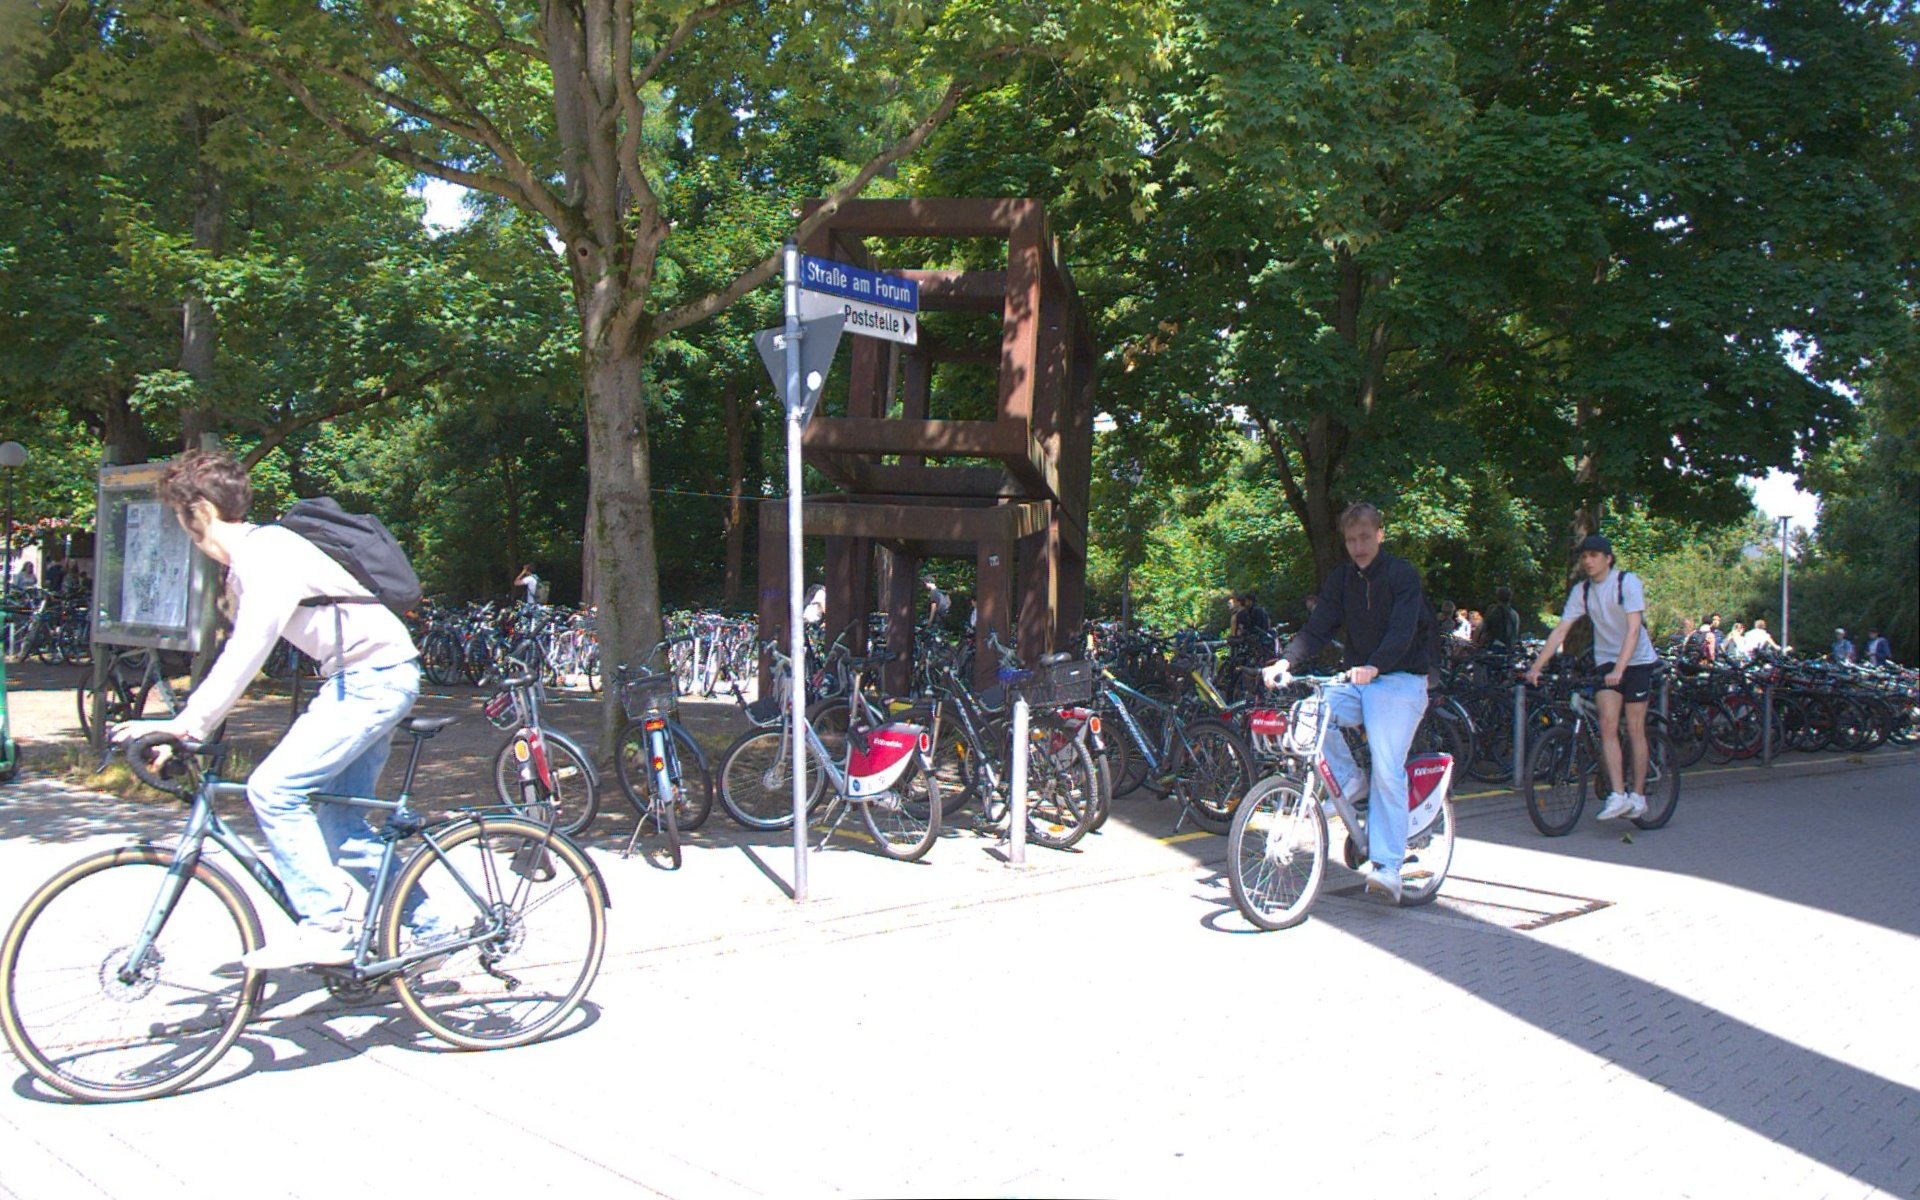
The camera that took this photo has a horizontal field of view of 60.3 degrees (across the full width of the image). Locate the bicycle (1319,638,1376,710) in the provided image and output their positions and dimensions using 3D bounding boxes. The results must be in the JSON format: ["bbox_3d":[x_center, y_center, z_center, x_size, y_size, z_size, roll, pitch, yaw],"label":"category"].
[{"bbox_3d":[6.402,1.206,27.385,0.463,1.102,1.699,3,-1,-1],"label":"bicycle"}]

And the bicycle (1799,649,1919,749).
[{"bbox_3d":[12.297,1.326,22.287,1.666,1.219,0.534,3,-1,36],"label":"bicycle"}]

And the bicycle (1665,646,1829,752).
[{"bbox_3d":[9.473,1.176,19.934,1.704,1.127,0.496,3,-1,32],"label":"bicycle"}]

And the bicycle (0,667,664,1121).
[{"bbox_3d":[-1.848,0.799,4.985,1.789,1.127,0.636,0,1,-24],"label":"bicycle"}]

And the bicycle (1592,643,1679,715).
[{"bbox_3d":[11.286,1.302,27.695,0.464,1.102,1.695,3,-1,-10],"label":"bicycle"}]

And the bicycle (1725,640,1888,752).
[{"bbox_3d":[10.545,1.175,20.626,1.707,1.257,0.495,3,-1,37],"label":"bicycle"}]

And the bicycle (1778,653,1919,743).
[{"bbox_3d":[12.483,1.367,23.258,1.664,1.127,0.564,3,-1,33],"label":"bicycle"}]

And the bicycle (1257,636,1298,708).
[{"bbox_3d":[5.198,1.161,27.116,0.462,1.102,1.701,3,-1,6],"label":"bicycle"}]

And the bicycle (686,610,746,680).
[{"bbox_3d":[-4.049,0.734,27.558,0.462,1.102,1.860,3,-1,6],"label":"bicycle"}]

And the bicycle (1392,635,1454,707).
[{"bbox_3d":[7.611,1.147,27.256,0.463,1.102,1.699,3,-1,-1],"label":"bicycle"}]

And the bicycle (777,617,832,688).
[{"bbox_3d":[-2.540,0.846,27.178,0.462,1.102,1.860,3,-1,6],"label":"bicycle"}]

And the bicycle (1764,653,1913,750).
[{"bbox_3d":[11.515,1.313,21.701,1.664,1.127,0.473,3,-1,33],"label":"bicycle"}]

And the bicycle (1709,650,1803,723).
[{"bbox_3d":[13.257,1.431,27.590,0.464,1.102,1.695,3,-1,-11],"label":"bicycle"}]

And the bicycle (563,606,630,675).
[{"bbox_3d":[-6.091,0.674,27.786,0.462,1.102,1.860,3,-1,6],"label":"bicycle"}]

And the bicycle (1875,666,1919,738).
[{"bbox_3d":[14.915,1.586,25.141,1.658,1.036,0.474,3,-1,9],"label":"bicycle"}]

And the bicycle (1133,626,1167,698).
[{"bbox_3d":[3.065,0.982,26.719,0.462,1.102,1.701,3,-1,6],"label":"bicycle"}]

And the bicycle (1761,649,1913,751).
[{"bbox_3d":[11.279,1.274,21.298,1.664,1.165,0.473,3,-1,33],"label":"bicycle"}]

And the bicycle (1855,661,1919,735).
[{"bbox_3d":[14.894,1.546,25.656,1.658,1.080,0.474,3,-1,9],"label":"bicycle"}]

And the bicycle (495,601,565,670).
[{"bbox_3d":[-7.258,0.596,27.973,0.462,1.102,1.860,3,-1,6],"label":"bicycle"}]

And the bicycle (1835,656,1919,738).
[{"bbox_3d":[13.903,1.445,24.383,1.659,1.127,0.474,3,-1,17],"label":"bicycle"}]

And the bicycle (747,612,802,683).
[{"bbox_3d":[-3.045,0.771,27.278,0.462,1.102,1.860,3,-1,6],"label":"bicycle"}]

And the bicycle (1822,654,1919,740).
[{"bbox_3d":[13.410,1.403,23.851,1.664,1.127,0.581,3,-1,33],"label":"bicycle"}]

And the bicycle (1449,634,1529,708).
[{"bbox_3d":[8.659,1.145,27.116,0.464,1.102,1.695,3,-1,-10],"label":"bicycle"}]

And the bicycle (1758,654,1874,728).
[{"bbox_3d":[14.238,1.496,27.547,0.468,1.102,1.681,4,-1,-32],"label":"bicycle"}]

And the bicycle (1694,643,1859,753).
[{"bbox_3d":[10.026,1.188,20.352,1.711,1.199,0.494,3,-1,44],"label":"bicycle"}]

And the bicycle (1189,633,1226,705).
[{"bbox_3d":[4.021,1.109,26.927,0.462,1.102,1.701,3,-1,6],"label":"bicycle"}]

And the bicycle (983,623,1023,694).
[{"bbox_3d":[0.716,0.938,27.006,0.462,1.102,1.701,3,-1,6],"label":"bicycle"}]

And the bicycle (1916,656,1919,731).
[{"bbox_3d":[16.224,1.549,26.352,1.663,1.189,0.473,3,-1,32],"label":"bicycle"}]

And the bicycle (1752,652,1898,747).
[{"bbox_3d":[11.577,1.315,22.159,1.664,1.127,0.473,3,-1,33],"label":"bicycle"}]

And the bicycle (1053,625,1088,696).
[{"bbox_3d":[1.833,0.983,27.333,0.462,1.102,1.701,3,-1,6],"label":"bicycle"}]

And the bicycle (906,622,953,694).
[{"bbox_3d":[-0.481,0.928,26.864,0.462,1.102,1.860,3,-1,6],"label":"bicycle"}]

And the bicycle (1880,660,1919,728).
[{"bbox_3d":[16.408,1.622,28.458,1.686,1.102,0.500,4,-1,-44],"label":"bicycle"}]

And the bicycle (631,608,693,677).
[{"bbox_3d":[-4.991,0.703,27.801,0.462,1.102,1.860,3,-1,6],"label":"bicycle"}]

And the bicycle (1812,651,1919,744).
[{"bbox_3d":[13.059,1.377,23.461,1.664,1.208,0.473,3,-1,33],"label":"bicycle"}]

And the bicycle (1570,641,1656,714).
[{"bbox_3d":[10.845,1.274,27.515,0.464,1.102,1.695,3,-1,-10],"label":"bicycle"}]

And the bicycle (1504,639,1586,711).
[{"bbox_3d":[9.692,1.226,27.465,0.464,1.102,1.695,3,-1,-10],"label":"bicycle"}]

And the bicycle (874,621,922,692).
[{"bbox_3d":[-1.008,0.905,27.057,0.462,1.102,1.860,3,-1,6],"label":"bicycle"}]

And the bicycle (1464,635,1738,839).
[{"bbox_3d":[4.256,0.885,10.930,1.867,1.192,0.794,4,0,-38],"label":"bicycle"}]

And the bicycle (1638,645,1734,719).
[{"bbox_3d":[11.937,1.327,27.241,0.465,1.102,1.693,3,-1,-15],"label":"bicycle"}]

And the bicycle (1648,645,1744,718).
[{"bbox_3d":[12.313,1.351,27.722,0.465,1.102,1.693,3,-1,-15],"label":"bicycle"}]

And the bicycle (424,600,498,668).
[{"bbox_3d":[-8.501,0.575,28.266,0.462,1.102,1.860,3,-1,6],"label":"bicycle"}]

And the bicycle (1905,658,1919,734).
[{"bbox_3d":[15.836,1.556,25.976,1.661,1.189,0.473,3,-1,27],"label":"bicycle"}]

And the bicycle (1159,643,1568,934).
[{"bbox_3d":[1.881,0.839,7.605,1.862,1.160,0.668,4,0,-32],"label":"bicycle"}]

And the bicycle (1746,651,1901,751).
[{"bbox_3d":[10.912,1.262,20.927,1.665,1.127,0.495,3,-1,34],"label":"bicycle"}]

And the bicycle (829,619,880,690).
[{"bbox_3d":[-1.710,0.875,27.003,0.462,1.102,1.860,3,-1,6],"label":"bicycle"}]

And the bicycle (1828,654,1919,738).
[{"bbox_3d":[14.031,1.453,24.831,1.659,1.177,0.474,3,-1,17],"label":"bicycle"}]
